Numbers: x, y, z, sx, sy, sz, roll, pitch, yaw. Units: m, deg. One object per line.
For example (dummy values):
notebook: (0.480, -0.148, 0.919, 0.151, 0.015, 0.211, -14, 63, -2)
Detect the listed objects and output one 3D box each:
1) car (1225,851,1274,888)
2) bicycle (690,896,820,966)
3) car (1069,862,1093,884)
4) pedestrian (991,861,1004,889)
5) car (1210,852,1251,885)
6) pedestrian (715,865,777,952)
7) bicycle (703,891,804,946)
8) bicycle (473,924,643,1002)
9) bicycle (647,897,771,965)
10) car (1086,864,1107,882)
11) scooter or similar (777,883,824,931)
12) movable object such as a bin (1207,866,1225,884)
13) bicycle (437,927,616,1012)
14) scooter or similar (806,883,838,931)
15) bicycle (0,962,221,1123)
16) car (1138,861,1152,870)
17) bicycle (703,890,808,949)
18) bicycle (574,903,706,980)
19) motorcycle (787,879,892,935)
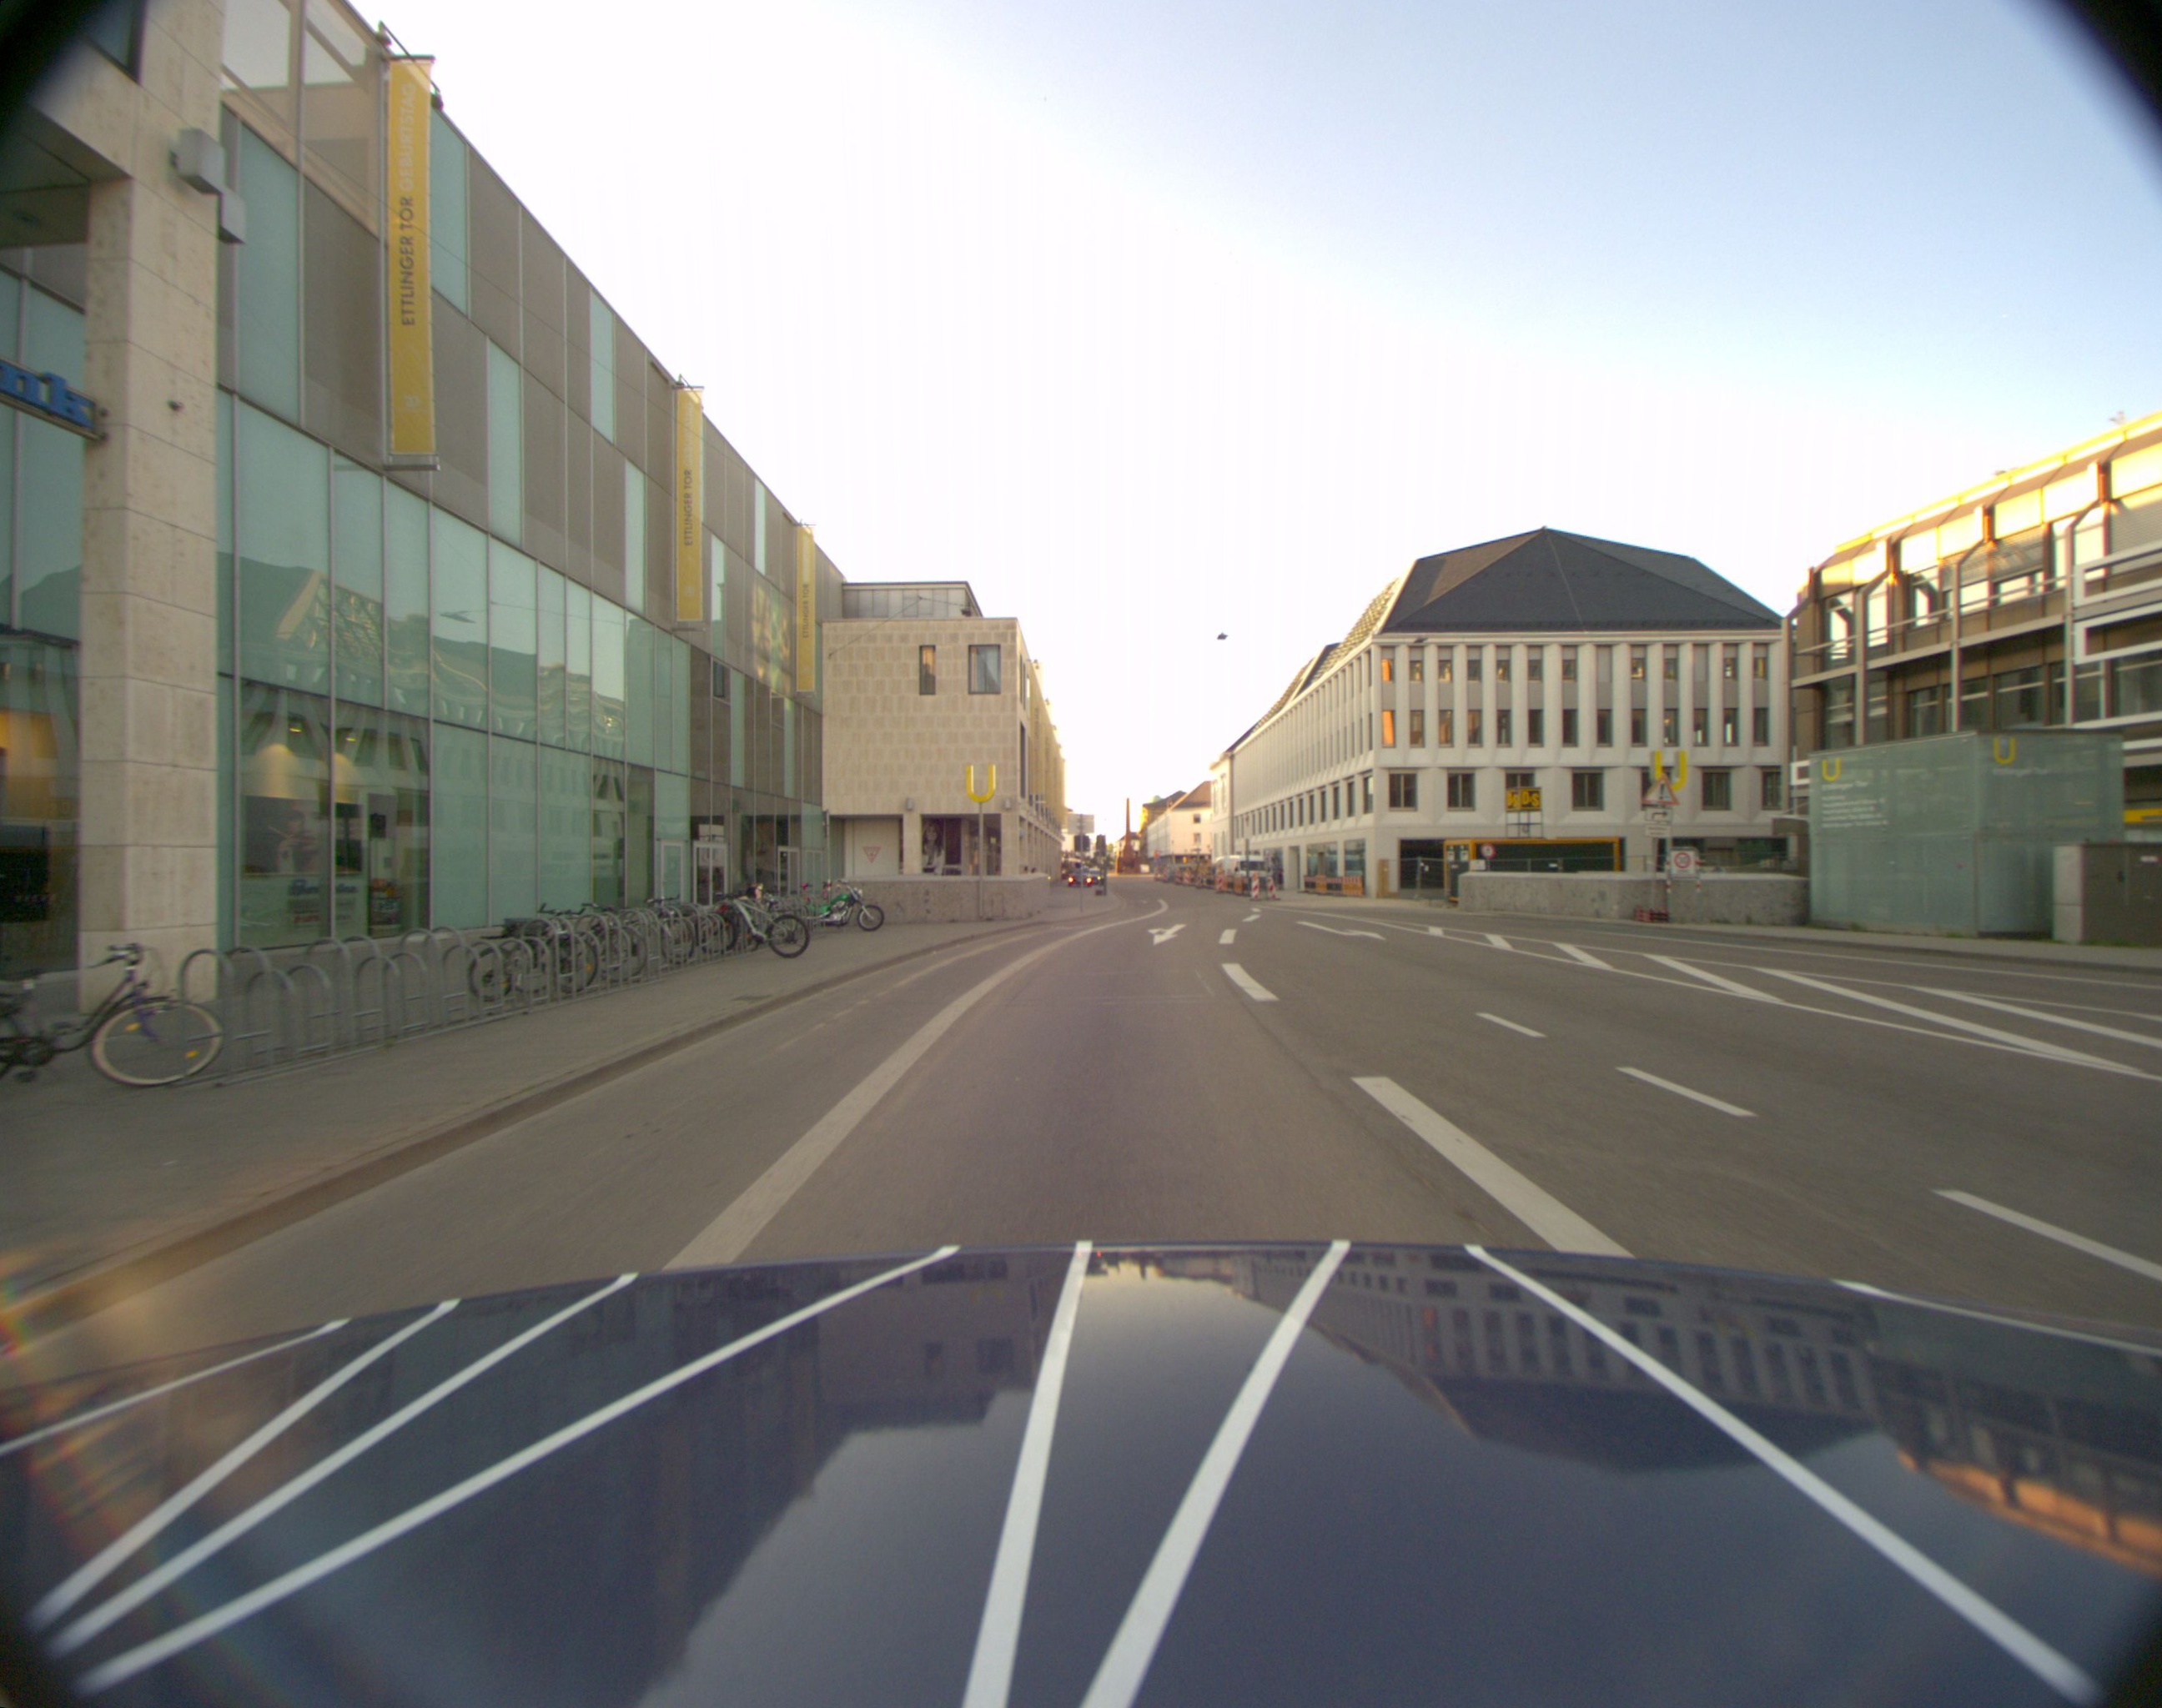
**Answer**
car: (11.814, 1.078, 53.630, 2.179, 2.455, 5.999, -1, 0, 1)
bicycle: (-5.518, 1.280, 12.882, 1.992, 1.123, 0.571, 0, 0, 6)
car: (0.048, 1.535, 61.856, 1.772, 1.628, 4.058, 3, 0, 1)
pedestrian: (-4.799, 1.214, 43.651, 0.635, 1.558, 0.775, 0, -2, 0)
car: (11.929, 1.135, 61.083, 2.179, 2.455, 6.000, -1, 0, 1)
pedestrian: (-6.809, 1.080, 15.459, 0.837, 1.725, 0.820, 0, 0, 8)
bicycle: (-7.038, 1.377, 16.359, 1.992, 1.123, 0.517, 0, 0, 6)
bicycle: (-6.654, 1.379, 9.715, 1.812, 0.931, 0.516, 0, 0, 0)
bicycle: (-6.735, 1.390, 13.792, 1.992, 1.123, 0.556, -3, 0, 6)
car: (1.417, 1.761, 70.471, 1.799, 1.481, 4.193, 3, 0, 1)
scooter or similar: (-7.674, 1.445, 20.789, 1.119, 1.250, 0.398, -1, 0, -37)
movable object such as a bin: (11.600, 1.779, 65.203, 1.047, 1.457, 1.392, -1, 0, -11)
bicycle: (-6.595, 1.364, 9.078, 1.743, 0.931, 0.516, 0, 0, 0)
scooter or similar: (-7.064, 1.428, 20.748, 0.398, 1.249, 0.870, -1, 0, 12)
bicycle: (-7.591, 1.360, 5.565, 1.708, 1.017, 0.600, 0, 0, -10)
car: (12.134, 2.156, 144.300, 2.021, 1.815, 4.458, 0, 0, -6)
bicycle: (-6.749, 1.345, 15.763, 1.992, 1.172, 0.517, 0, 0, 6)
bicycle: (-6.777, 1.325, 11.696, 1.768, 1.123, 0.516, 0, 0, 4)
motorcycle: (-5.931, 1.294, 18.801, 2.304, 1.325, 0.907, 0, 0, -2)
